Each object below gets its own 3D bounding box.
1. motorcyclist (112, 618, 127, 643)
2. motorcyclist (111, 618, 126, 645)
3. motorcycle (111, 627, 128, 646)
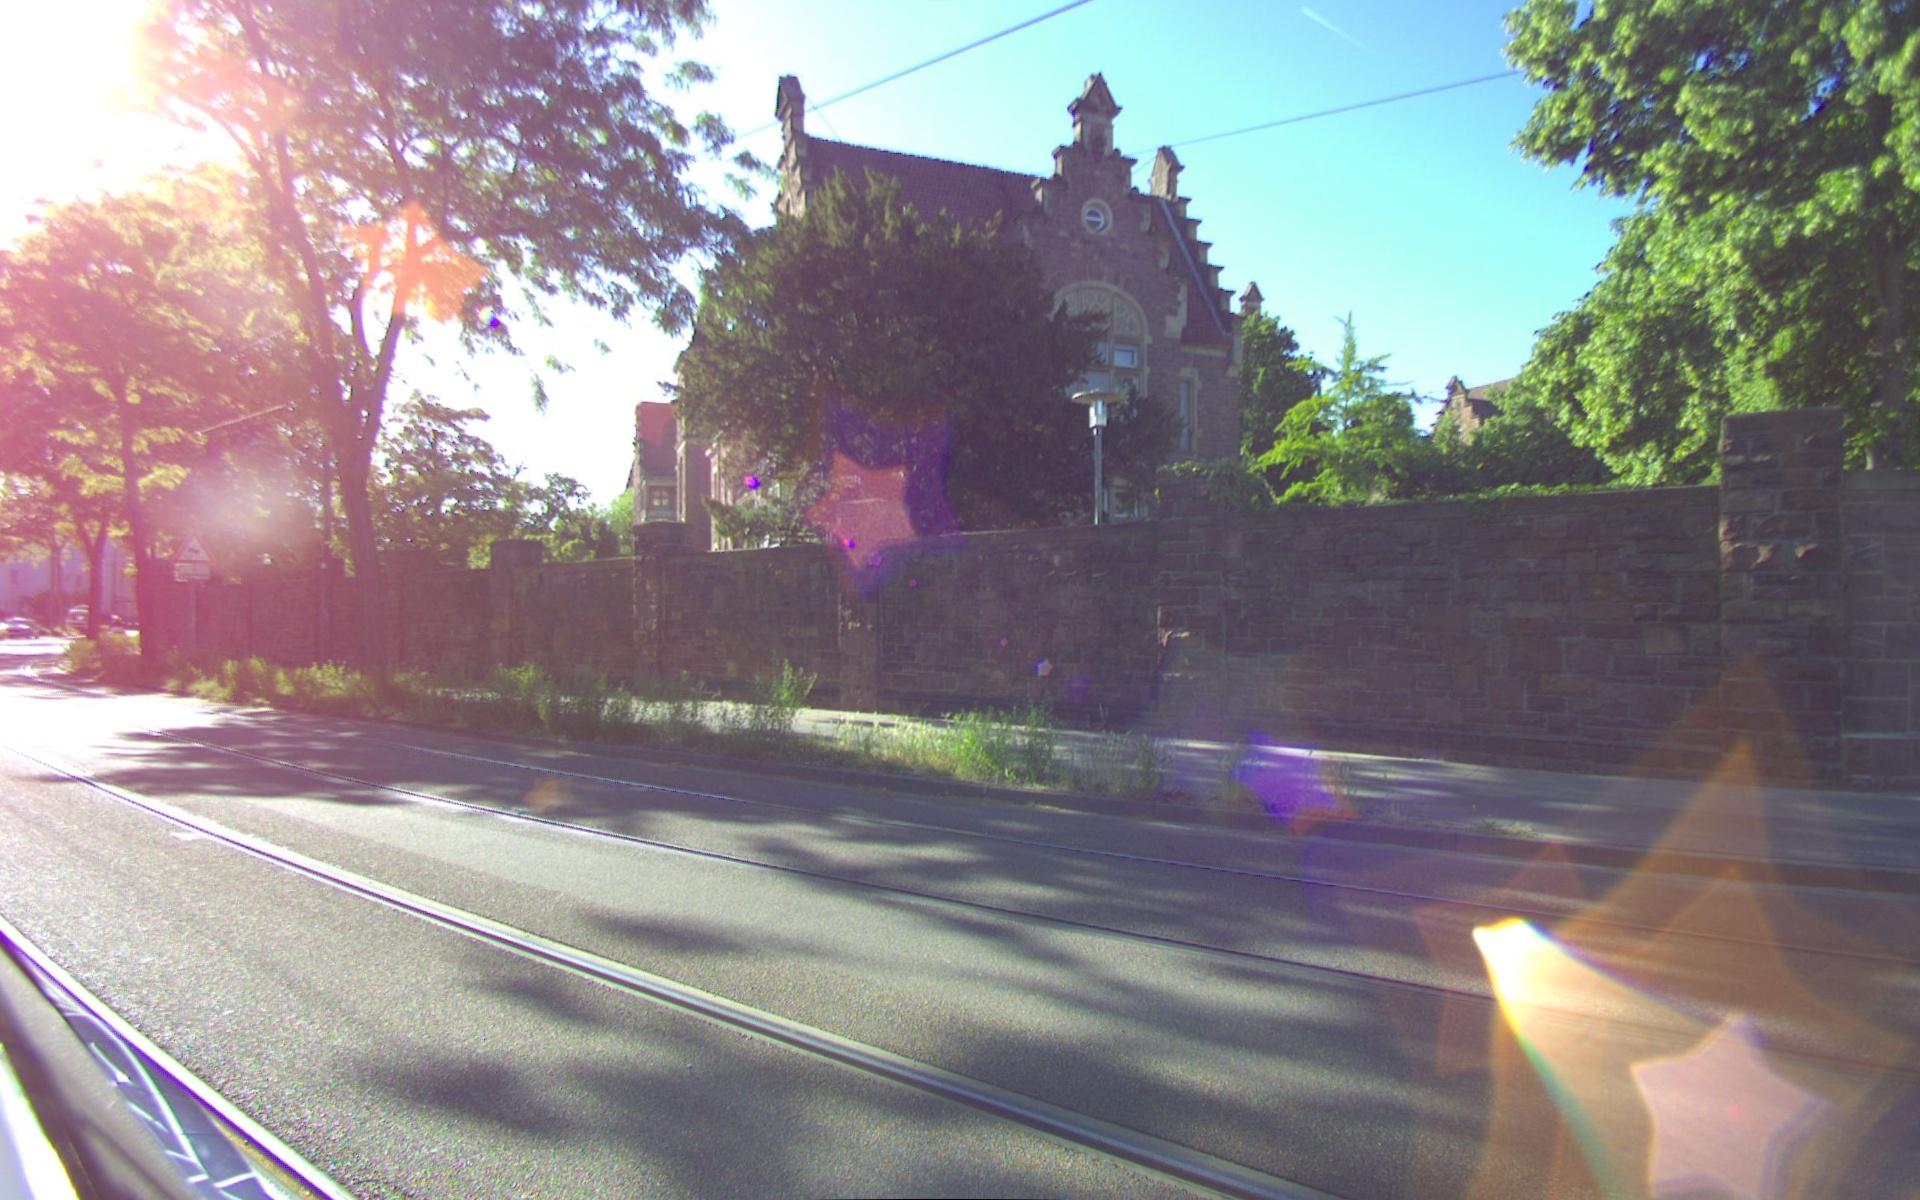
[{"bbox_3d":[-48.770,1.784,58.725,0.674,1.451,0.447,0,-1,-37],"label":"motorcyclist"},{"bbox_3d":[-48.455,1.828,58.284,0.598,1.527,0.467,0,-1,-35],"label":"motorcyclist"},{"bbox_3d":[-48.710,2.115,58.658,0.601,1.101,1.861,0,-1,-35],"label":"motorcycle"}]
